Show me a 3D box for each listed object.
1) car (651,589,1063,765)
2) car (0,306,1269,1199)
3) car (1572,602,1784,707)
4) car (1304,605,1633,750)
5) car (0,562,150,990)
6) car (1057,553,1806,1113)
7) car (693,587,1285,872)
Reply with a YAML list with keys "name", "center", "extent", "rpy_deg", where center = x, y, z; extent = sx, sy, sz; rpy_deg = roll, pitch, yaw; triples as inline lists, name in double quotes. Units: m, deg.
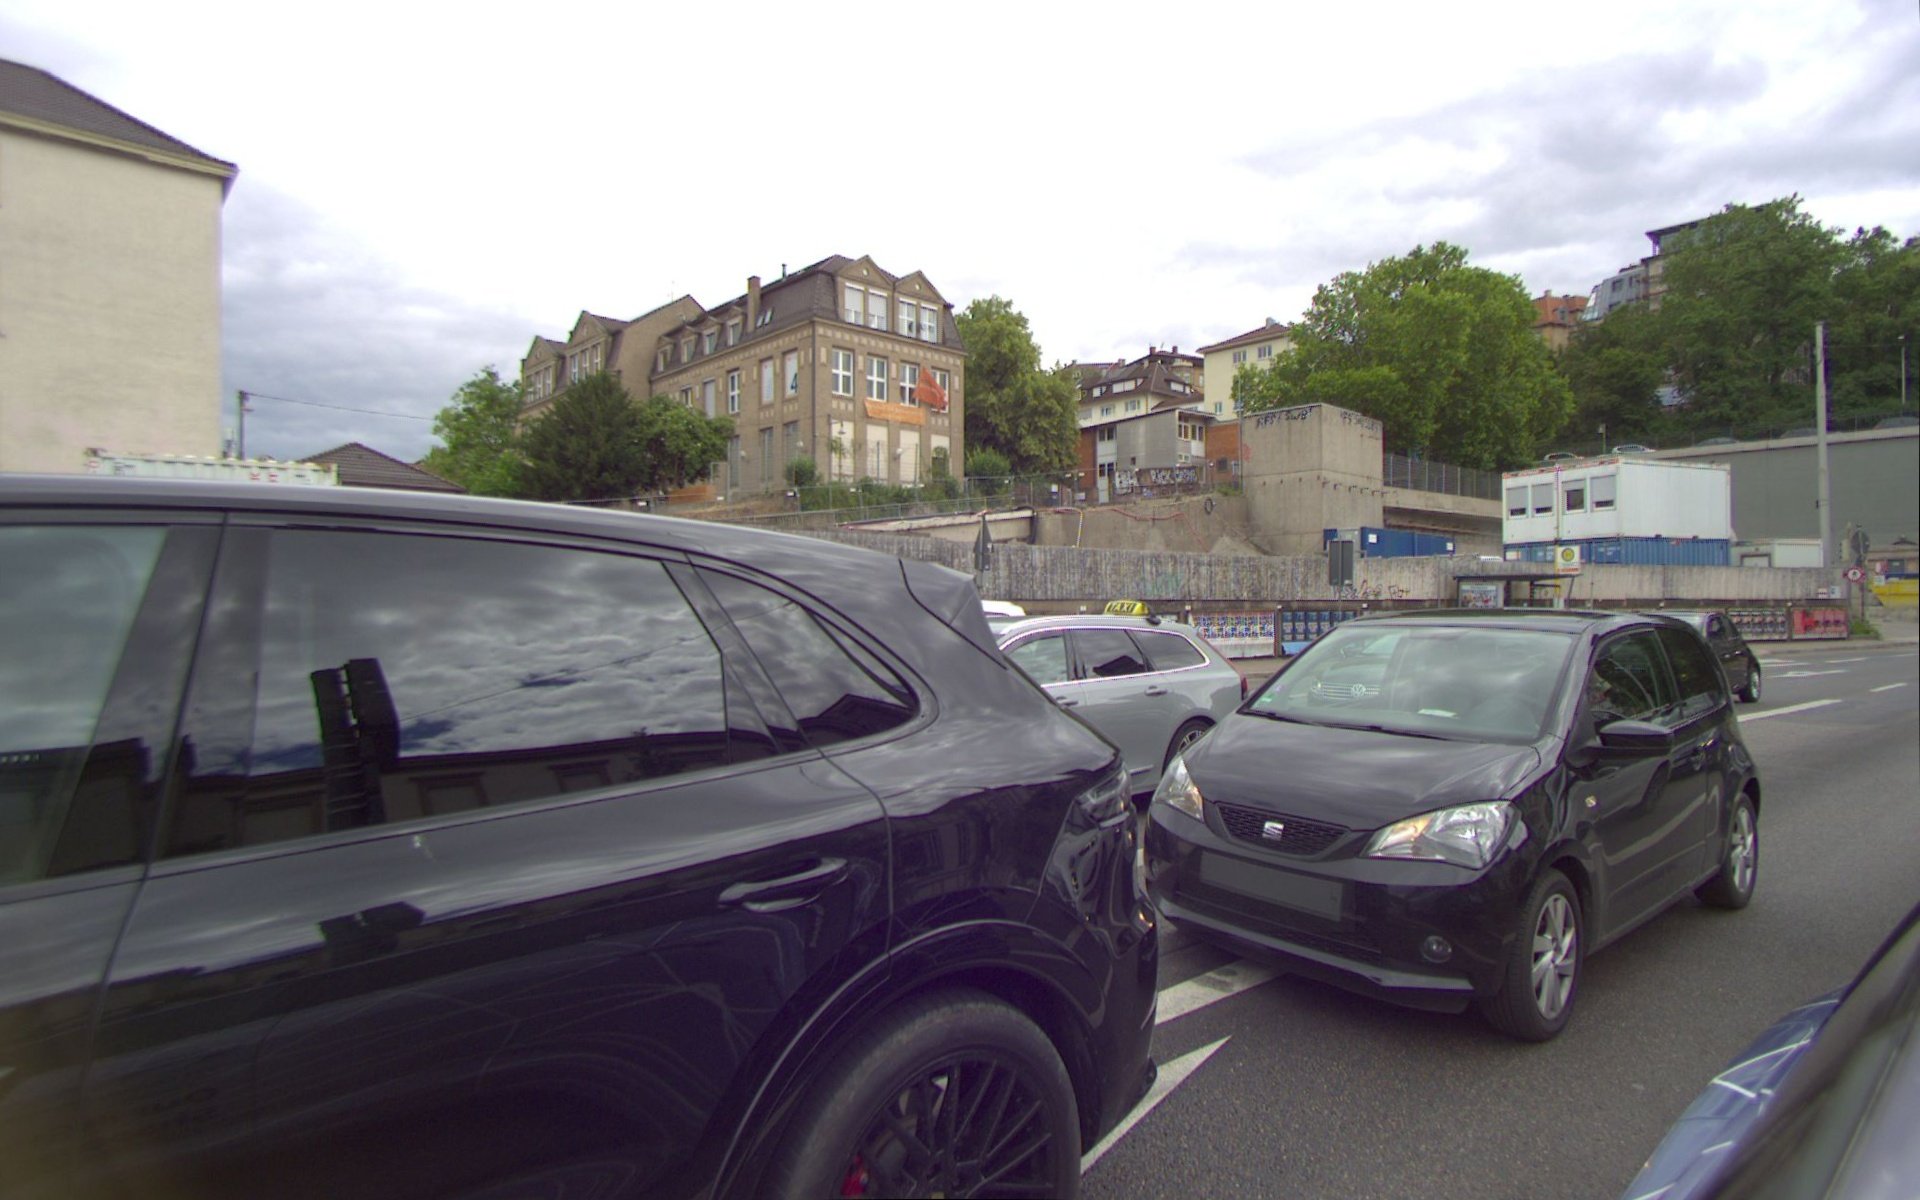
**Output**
- name: "car"
  center: [-0.945, 0.634, 10.599]
  extent: [4.004, 1.484, 1.824]
  rpy_deg: [-1, 0, -42]
- name: "car"
  center: [-1.664, 0.557, 1.663]
  extent: [4.497, 1.689, 1.998]
  rpy_deg: [-1, 0, -39]
- name: "car"
  center: [11.430, 0.795, 16.046]
  extent: [3.711, 1.478, 1.721]
  rpy_deg: [1, -2, -38]
- name: "car"
  center: [6.017, 0.770, 11.802]
  extent: [4.139, 1.381, 1.827]
  rpy_deg: [1, 0, -38]
- name: "car"
  center: [-5.068, 0.638, 3.454]
  extent: [3.581, 1.529, 1.826]
  rpy_deg: [-1, 0, -39]
- name: "car"
  center: [2.405, 0.633, 4.715]
  extent: [3.841, 1.575, 1.661]
  rpy_deg: [-1, 0, -39]
- name: "car"
  center: [0.393, 0.658, 7.336]
  extent: [4.142, 1.484, 1.825]
  rpy_deg: [-1, 0, -40]
